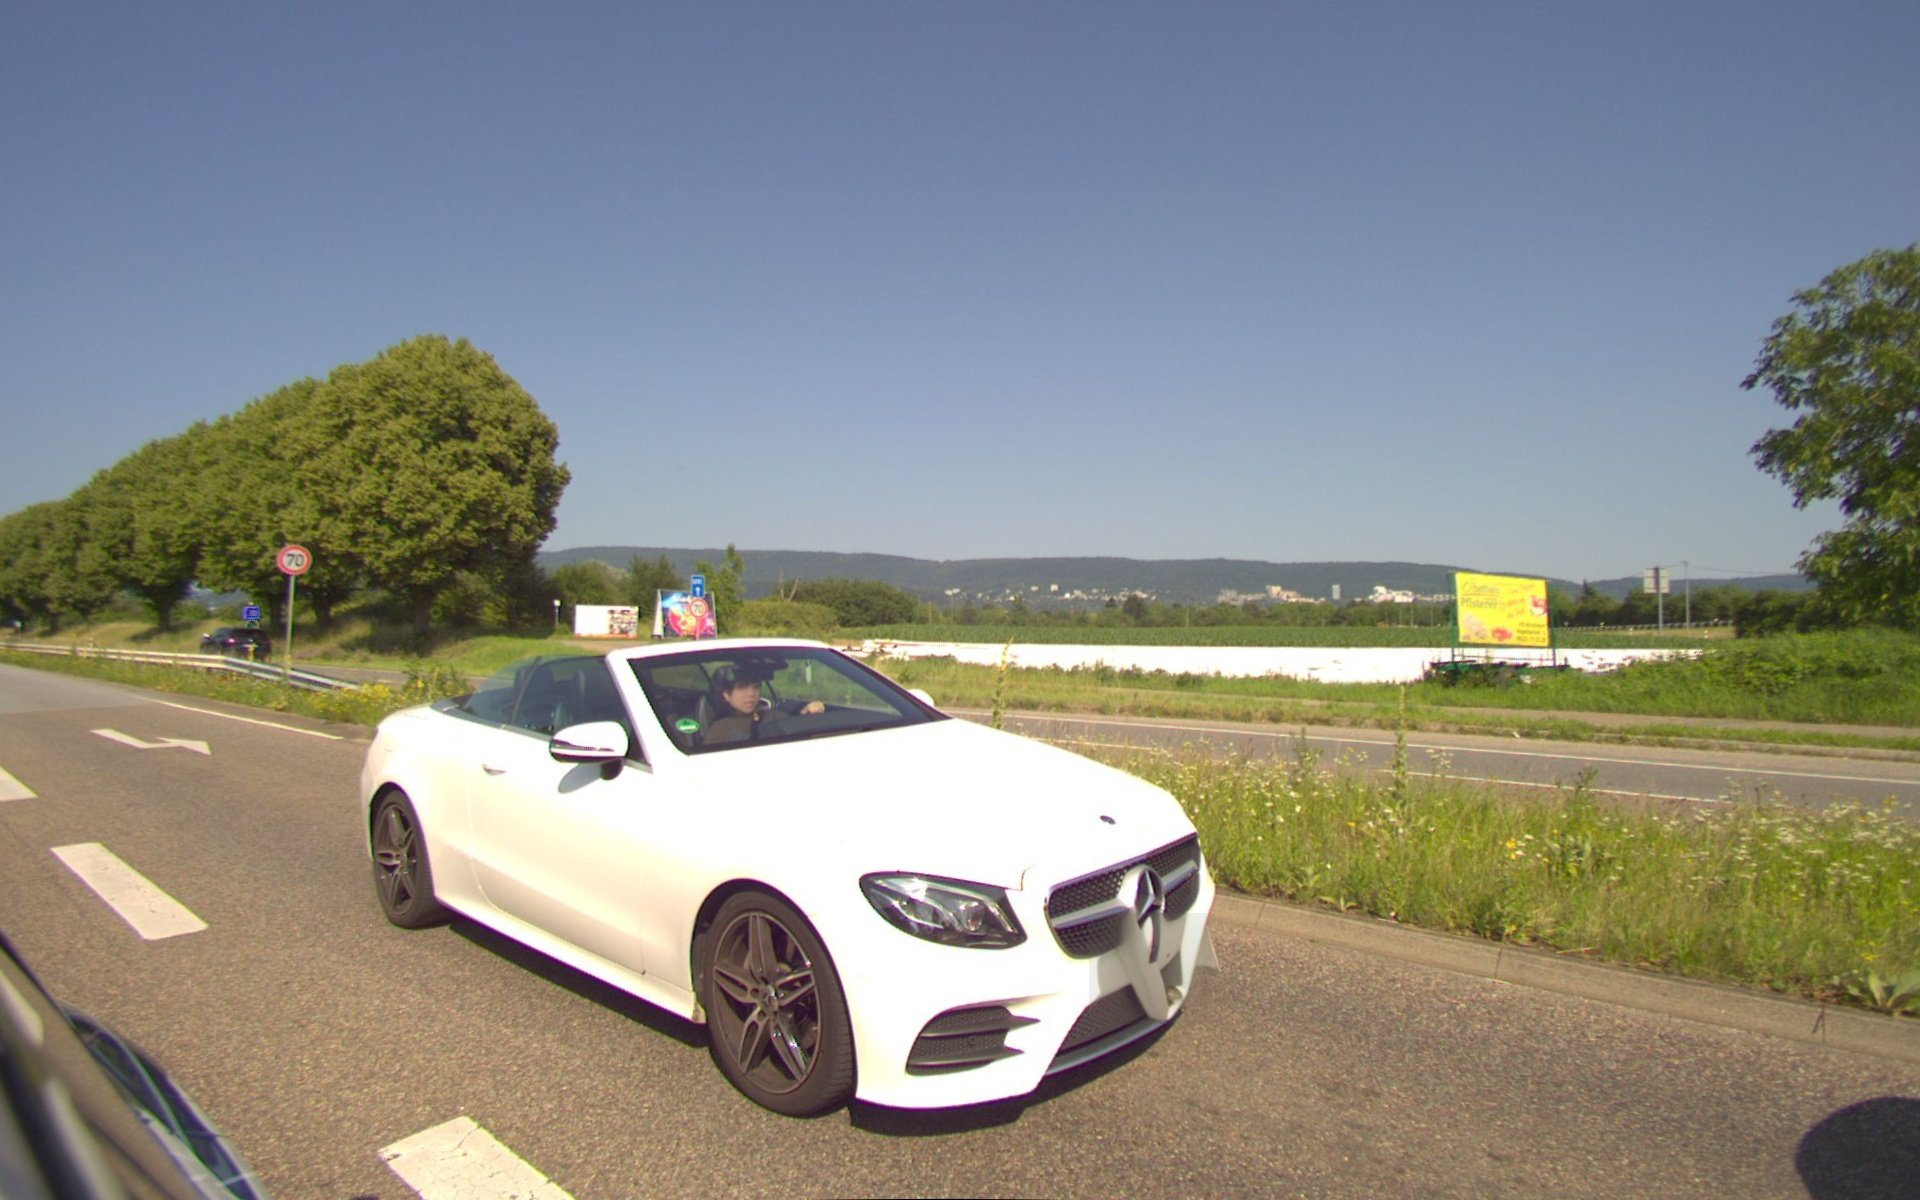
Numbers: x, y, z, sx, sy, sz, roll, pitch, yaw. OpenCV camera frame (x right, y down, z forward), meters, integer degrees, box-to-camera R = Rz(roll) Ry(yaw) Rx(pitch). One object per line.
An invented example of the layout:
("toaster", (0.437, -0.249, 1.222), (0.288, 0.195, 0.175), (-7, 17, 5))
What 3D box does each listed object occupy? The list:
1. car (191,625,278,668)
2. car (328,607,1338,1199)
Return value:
("car", (-33.650, 2.160, 46.907), (4.948, 1.855, 1.974), (-2, -5, 39))
("car", (-0.990, 0.792, 4.457), (4.639, 1.436, 1.784), (-2, -1, 41))
